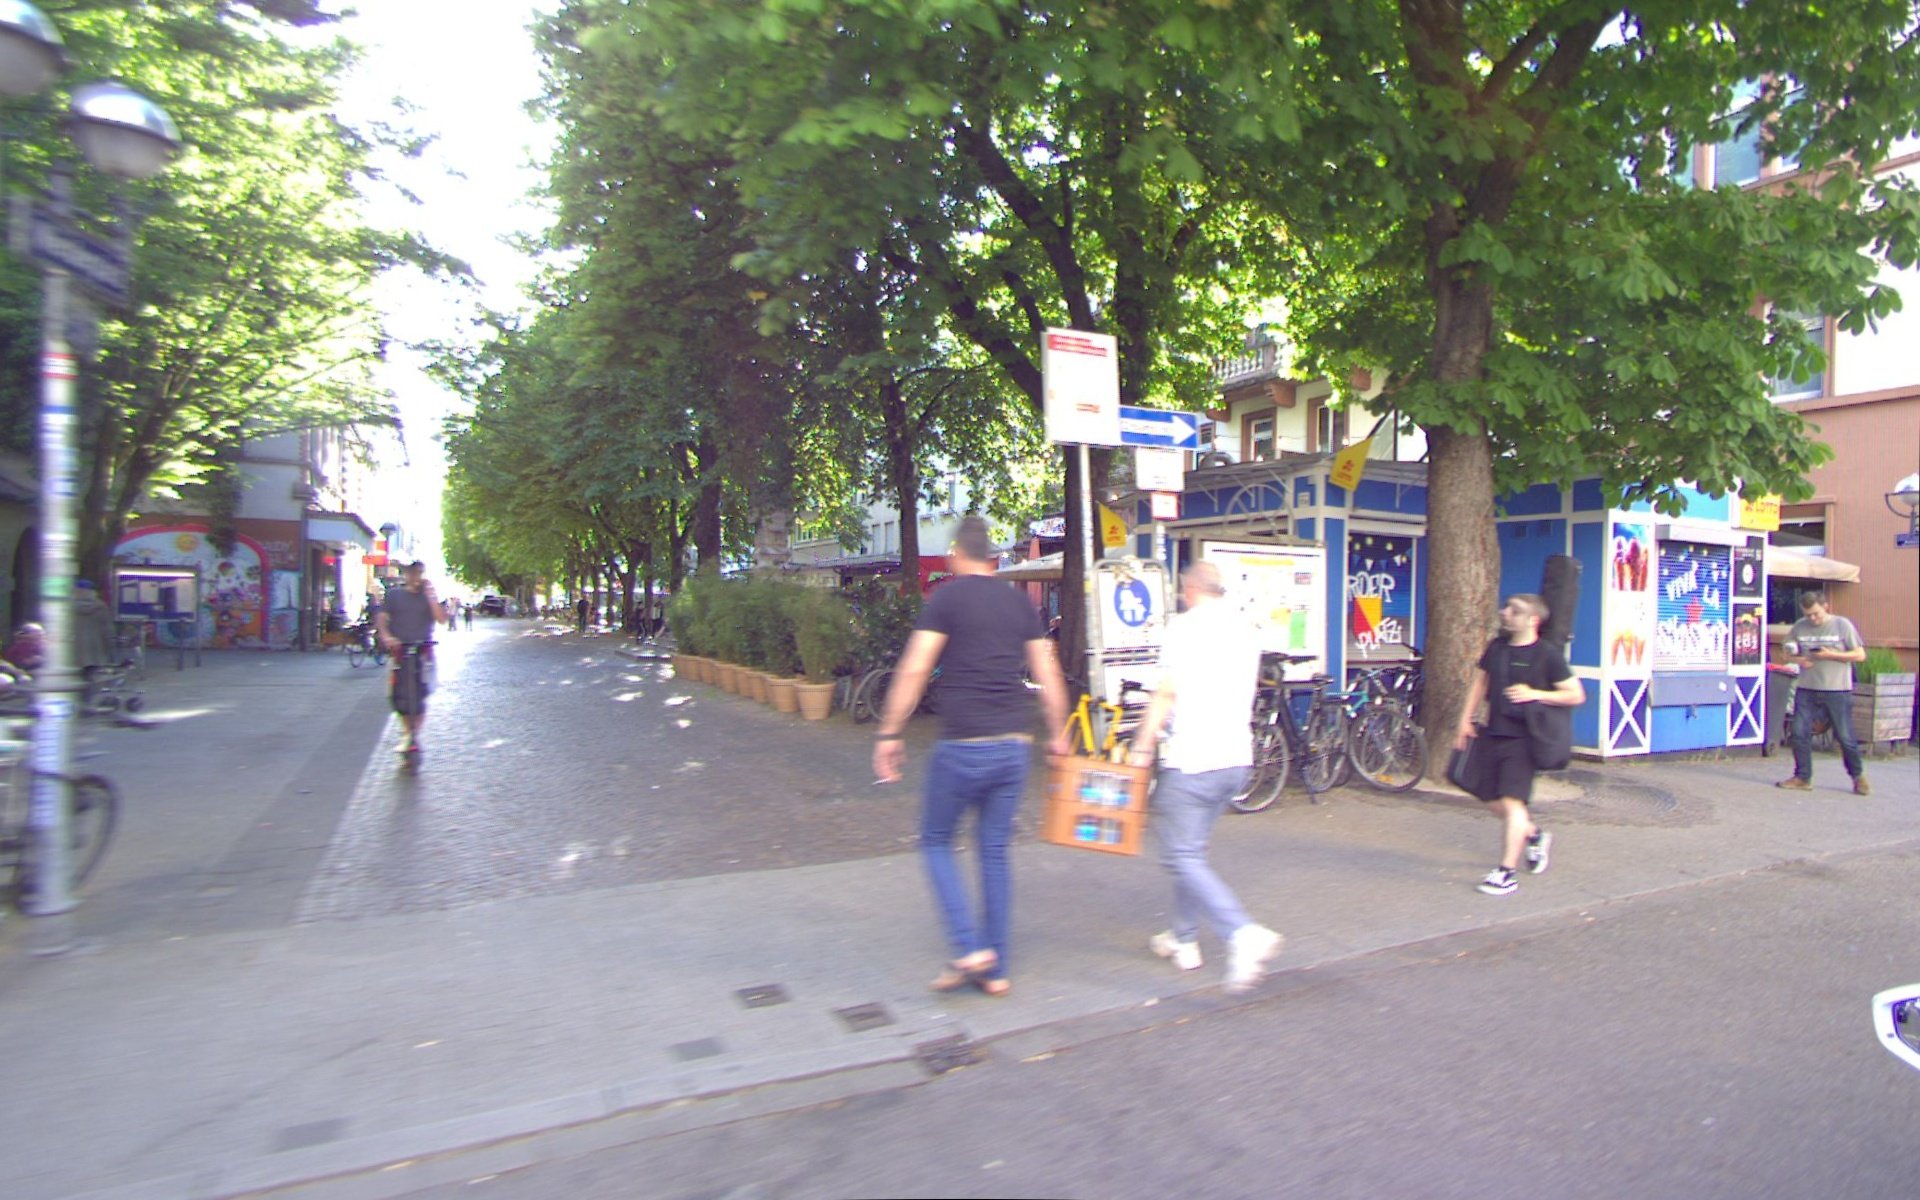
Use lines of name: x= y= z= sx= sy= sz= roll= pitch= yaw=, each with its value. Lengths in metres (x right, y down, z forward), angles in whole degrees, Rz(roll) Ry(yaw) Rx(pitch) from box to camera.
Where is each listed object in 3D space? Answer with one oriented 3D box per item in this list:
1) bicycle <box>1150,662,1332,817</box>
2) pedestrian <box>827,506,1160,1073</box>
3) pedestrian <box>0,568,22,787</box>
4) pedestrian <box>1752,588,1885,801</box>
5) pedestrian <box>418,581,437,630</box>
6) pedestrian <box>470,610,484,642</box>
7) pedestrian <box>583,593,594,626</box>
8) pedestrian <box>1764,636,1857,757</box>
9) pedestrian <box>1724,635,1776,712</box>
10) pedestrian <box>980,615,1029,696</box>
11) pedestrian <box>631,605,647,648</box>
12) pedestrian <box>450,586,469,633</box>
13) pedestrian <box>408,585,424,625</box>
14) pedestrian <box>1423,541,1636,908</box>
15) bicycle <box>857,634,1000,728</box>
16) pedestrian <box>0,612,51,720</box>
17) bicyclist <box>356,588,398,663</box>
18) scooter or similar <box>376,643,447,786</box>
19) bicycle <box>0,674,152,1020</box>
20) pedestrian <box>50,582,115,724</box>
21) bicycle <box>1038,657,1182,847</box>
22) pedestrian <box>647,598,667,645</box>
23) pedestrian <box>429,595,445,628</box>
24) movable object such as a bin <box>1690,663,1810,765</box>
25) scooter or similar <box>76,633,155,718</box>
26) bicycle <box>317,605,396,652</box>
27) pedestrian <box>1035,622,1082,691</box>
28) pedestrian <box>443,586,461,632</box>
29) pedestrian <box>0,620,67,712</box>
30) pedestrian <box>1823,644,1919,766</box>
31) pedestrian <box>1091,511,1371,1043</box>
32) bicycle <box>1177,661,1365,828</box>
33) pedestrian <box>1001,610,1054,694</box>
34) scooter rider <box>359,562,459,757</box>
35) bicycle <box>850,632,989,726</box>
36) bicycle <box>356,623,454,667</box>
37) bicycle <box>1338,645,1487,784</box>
bicycle: x=2.169 y=1.032 z=7.679 sx=1.559 sy=1.060 sz=0.291 roll=1 pitch=1 yaw=-28
pedestrian: x=0.118 y=0.629 z=3.816 sx=0.991 sy=1.849 sz=0.690 roll=2 pitch=0 yaw=-30
pedestrian: x=-7.446 y=0.563 z=7.359 sx=0.706 sy=1.614 sz=0.476 roll=2 pitch=0 yaw=-31
pedestrian: x=7.932 y=0.845 z=9.292 sx=0.689 sy=1.858 sz=0.644 roll=2 pitch=1 yaw=-28
pedestrian: x=-26.246 y=0.273 z=49.533 sx=0.722 sy=2.348 sz=0.758 roll=2 pitch=0 yaw=-31
pedestrian: x=-24.310 y=1.304 z=50.546 sx=0.552 sy=1.588 sz=0.758 roll=2 pitch=0 yaw=-31
pedestrian: x=-23.372 y=0.618 z=63.153 sx=0.502 sy=2.040 sz=0.449 roll=2 pitch=0 yaw=-28
pedestrian: x=10.956 y=1.226 z=12.953 sx=0.609 sy=1.464 sz=0.702 roll=2 pitch=0 yaw=-29
pedestrian: x=13.159 y=1.222 z=16.744 sx=0.416 sy=1.202 sz=0.441 roll=4 pitch=3 yaw=-28
pedestrian: x=0.759 y=0.929 z=17.034 sx=0.590 sy=1.322 sz=0.541 roll=2 pitch=0 yaw=-29
pedestrian: x=-11.105 y=0.924 z=34.768 sx=0.420 sy=1.458 sz=0.312 roll=2 pitch=0 yaw=-29
pedestrian: x=-24.986 y=0.472 z=50.135 sx=0.722 sy=2.348 sz=0.758 roll=2 pitch=0 yaw=-31
pedestrian: x=-32.259 y=0.292 z=59.554 sx=0.720 sy=2.348 sz=0.760 roll=2 pitch=0 yaw=-25
pedestrian: x=3.202 y=0.648 z=5.675 sx=0.711 sy=1.898 sz=0.713 roll=2 pitch=0 yaw=-28
bicycle: x=-0.377 y=1.007 z=12.777 sx=1.913 sy=1.106 sz=0.227 roll=0 pitch=1 yaw=-29
pedestrian: x=-11.504 y=0.784 z=12.046 sx=0.732 sy=1.248 sz=0.611 roll=2 pitch=0 yaw=-29
bicyclist: x=-14.153 y=0.615 z=24.392 sx=0.494 sy=1.785 sz=0.683 roll=2 pitch=0 yaw=12
scooter or similar: x=-5.029 y=1.016 z=9.228 sx=0.508 sy=1.175 sz=1.050 roll=2 pitch=0 yaw=-28
bicycle: x=-3.839 y=0.924 z=4.246 sx=0.342 sy=1.080 sz=1.682 roll=2 pitch=0 yaw=-29
pedestrian: x=-10.621 y=0.628 z=12.173 sx=0.546 sy=1.653 sz=0.554 roll=2 pitch=1 yaw=-40
bicycle: x=1.013 y=1.007 z=7.127 sx=0.341 sy=1.097 sz=1.573 roll=2 pitch=0 yaw=-17
pedestrian: x=-10.982 y=0.781 z=36.413 sx=0.582 sy=1.685 sz=0.312 roll=2 pitch=0 yaw=-29
pedestrian: x=-28.816 y=0.624 z=55.345 sx=0.721 sy=1.760 sz=0.759 roll=2 pitch=0 yaw=-29
movable object such as a bin: x=9.485 y=1.345 z=12.077 sx=0.764 sy=1.101 sz=0.866 roll=2 pitch=0 yaw=-27
scooter or similar: x=-10.799 y=0.953 z=12.867 sx=0.497 sy=1.019 sz=0.730 roll=2 pitch=0 yaw=-17
bicycle: x=-17.478 y=0.830 z=29.130 sx=1.904 sy=1.283 sz=0.520 roll=2 pitch=0 yaw=-29
pedestrian: x=1.903 y=1.084 z=19.404 sx=0.669 sy=1.284 sz=0.562 roll=2 pitch=0 yaw=-29
pedestrian: x=-26.007 y=0.453 z=51.369 sx=0.721 sy=2.348 sz=0.758 roll=2 pitch=0 yaw=-30
pedestrian: x=-11.801 y=0.831 z=12.793 sx=0.484 sy=1.122 sz=0.612 roll=2 pitch=0 yaw=-28
pedestrian: x=11.647 y=1.324 z=12.849 sx=0.609 sy=1.464 sz=0.702 roll=2 pitch=0 yaw=-29
pedestrian: x=1.056 y=0.622 z=4.000 sx=0.680 sy=1.860 sz=0.758 roll=2 pitch=0 yaw=-29
bicycle: x=2.300 y=1.020 z=7.364 sx=1.559 sy=1.097 sz=0.291 roll=1 pitch=1 yaw=-28
pedestrian: x=1.107 y=0.857 z=16.562 sx=0.626 sy=1.338 sz=0.565 roll=2 pitch=0 yaw=-29
scooter rider: x=-4.976 y=0.515 z=9.091 sx=0.711 sy=1.670 sz=0.684 roll=2 pitch=0 yaw=-29
bicycle: x=-0.498 y=1.002 z=13.002 sx=1.913 sy=1.106 sz=0.227 roll=-1 pitch=2 yaw=-29
bicycle: x=-13.985 y=1.108 z=25.422 sx=0.479 sy=1.003 sz=2.767 roll=2 pitch=0 yaw=11
bicycle: x=4.349 y=1.030 z=9.572 sx=2.022 sy=1.146 sz=0.492 roll=1 pitch=1 yaw=-42
